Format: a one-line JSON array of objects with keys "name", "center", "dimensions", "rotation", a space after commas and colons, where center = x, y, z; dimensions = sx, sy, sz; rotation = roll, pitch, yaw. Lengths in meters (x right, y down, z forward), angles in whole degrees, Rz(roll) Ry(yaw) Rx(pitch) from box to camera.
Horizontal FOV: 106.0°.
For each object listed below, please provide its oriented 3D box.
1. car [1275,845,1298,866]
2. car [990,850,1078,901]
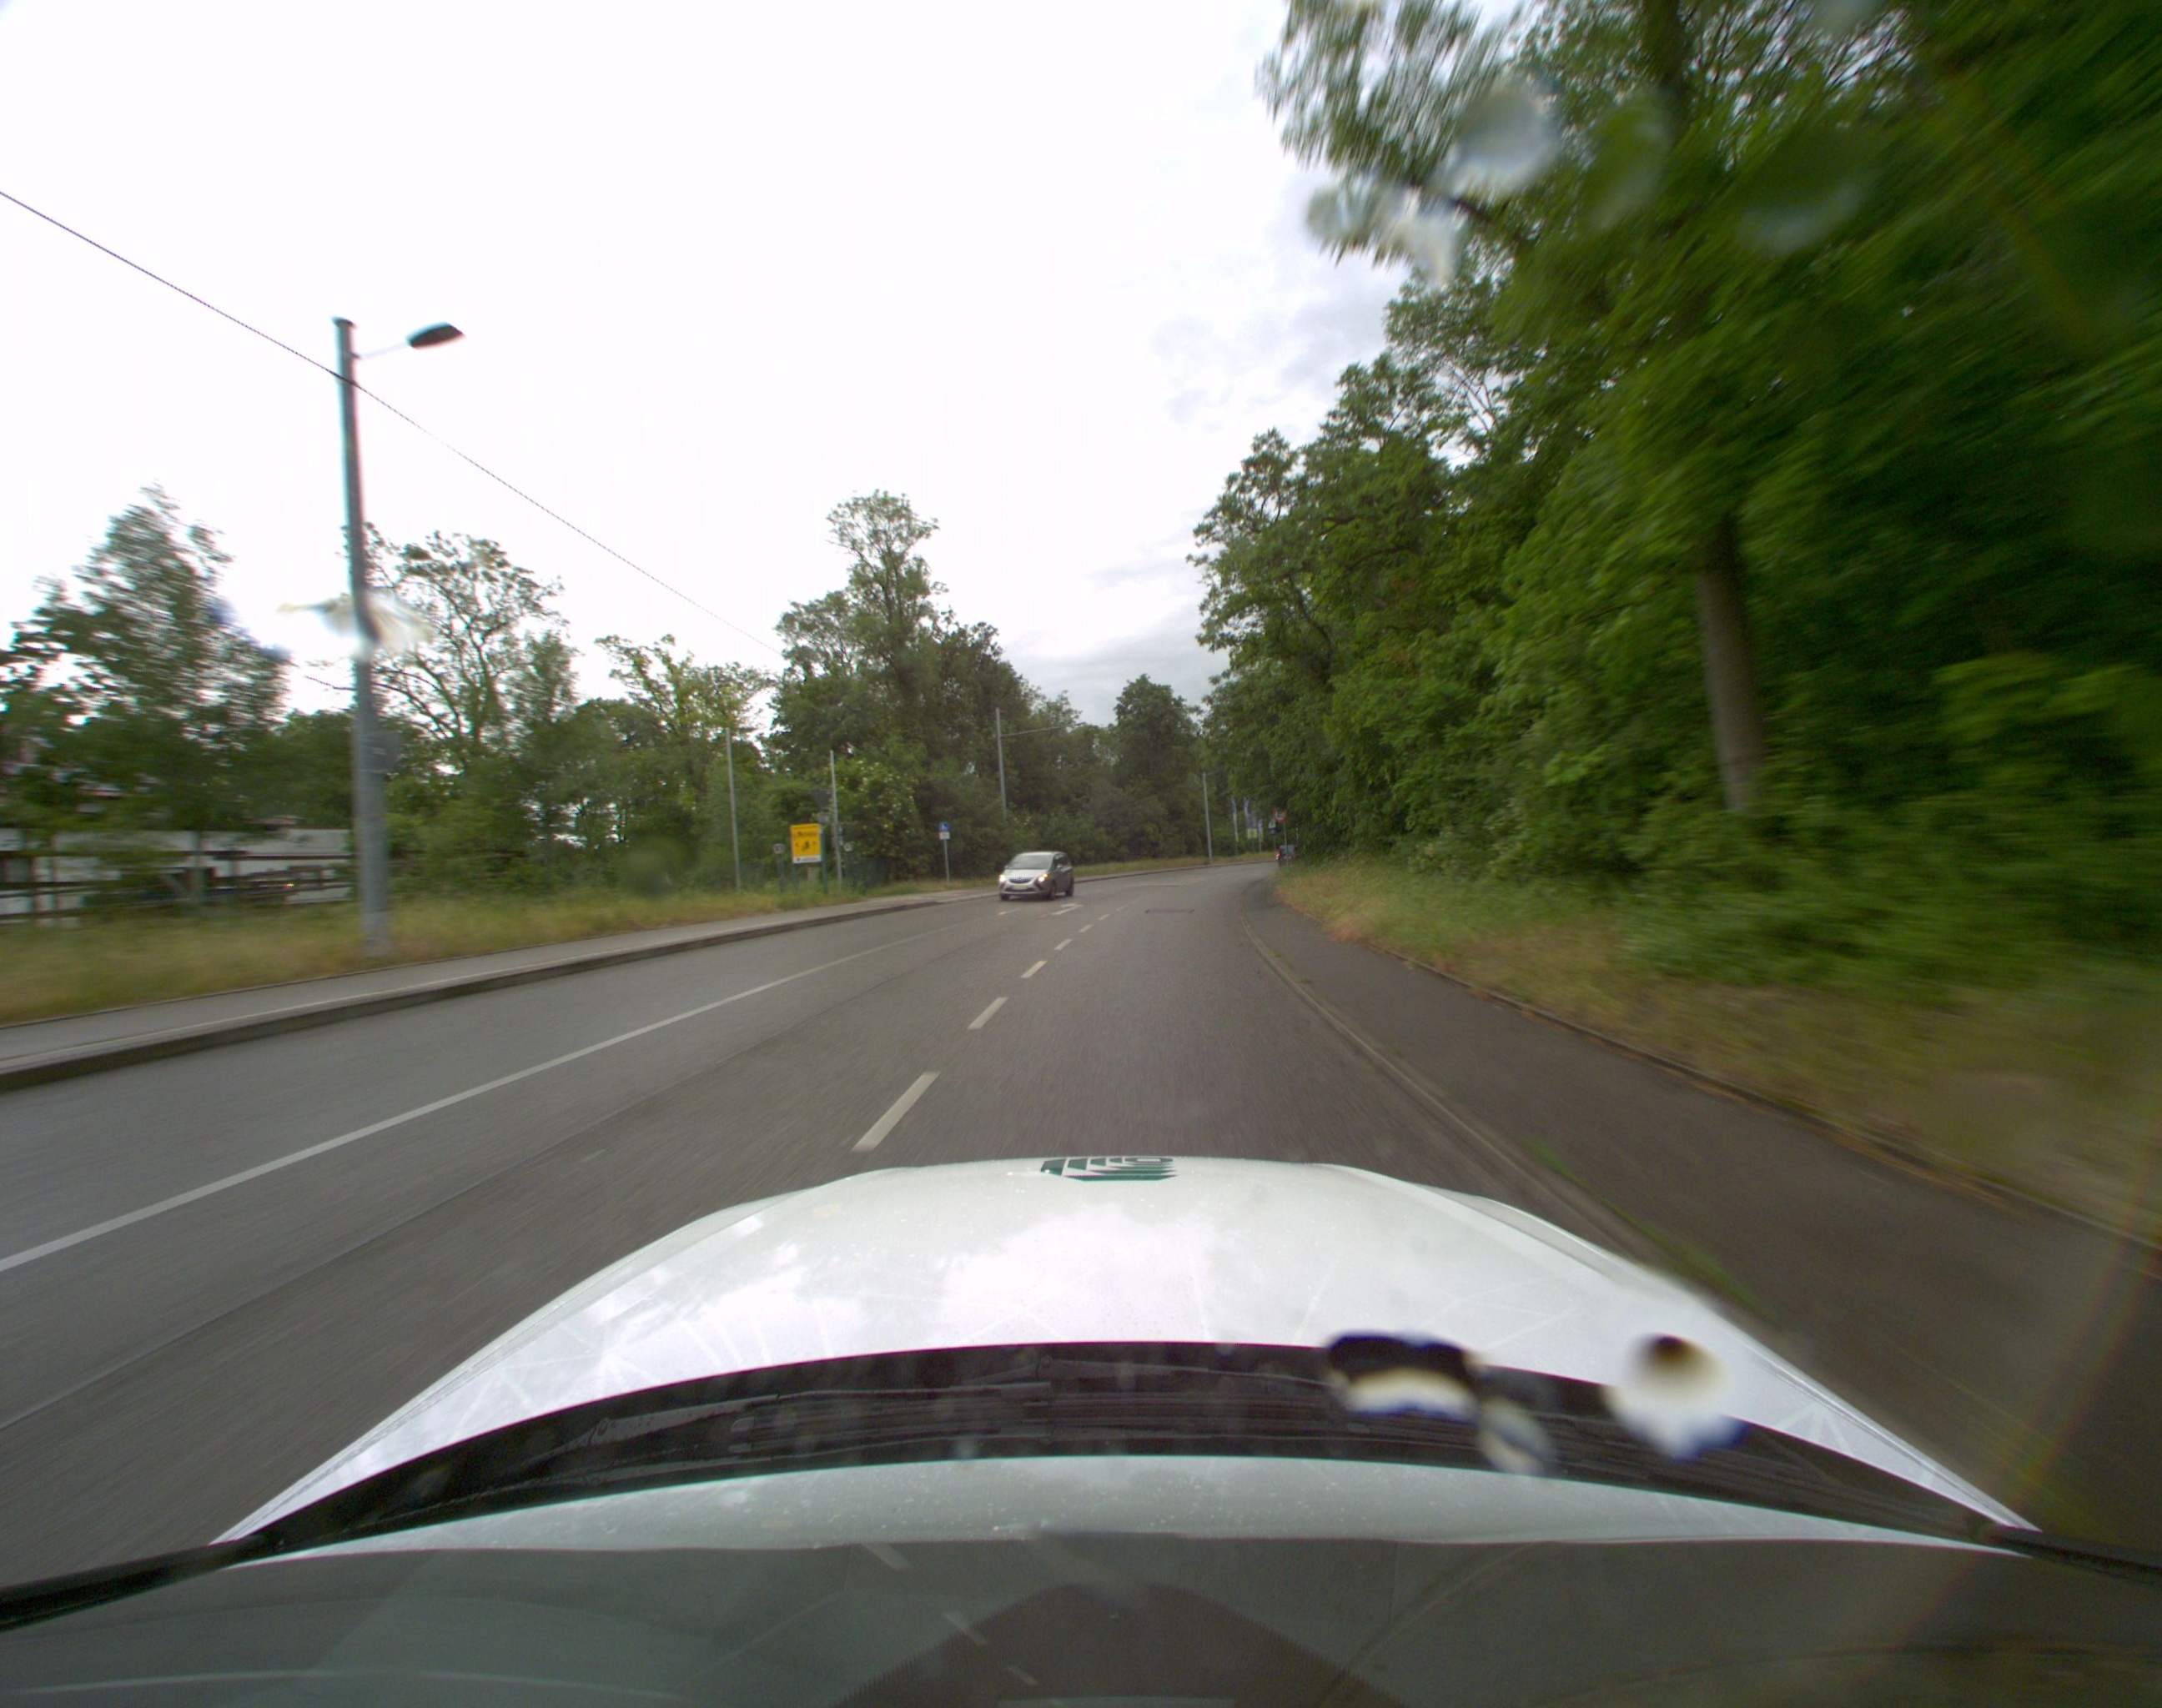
[{"name": "car", "center": [16.563, 0.117, 65.645], "dimensions": [1.656, 1.594, 3.695], "rotation": [-1, 0, 12]}, {"name": "car", "center": [-1.544, 0.693, 28.441], "dimensions": [1.746, 1.615, 4.436], "rotation": [0, 0, 15]}]
